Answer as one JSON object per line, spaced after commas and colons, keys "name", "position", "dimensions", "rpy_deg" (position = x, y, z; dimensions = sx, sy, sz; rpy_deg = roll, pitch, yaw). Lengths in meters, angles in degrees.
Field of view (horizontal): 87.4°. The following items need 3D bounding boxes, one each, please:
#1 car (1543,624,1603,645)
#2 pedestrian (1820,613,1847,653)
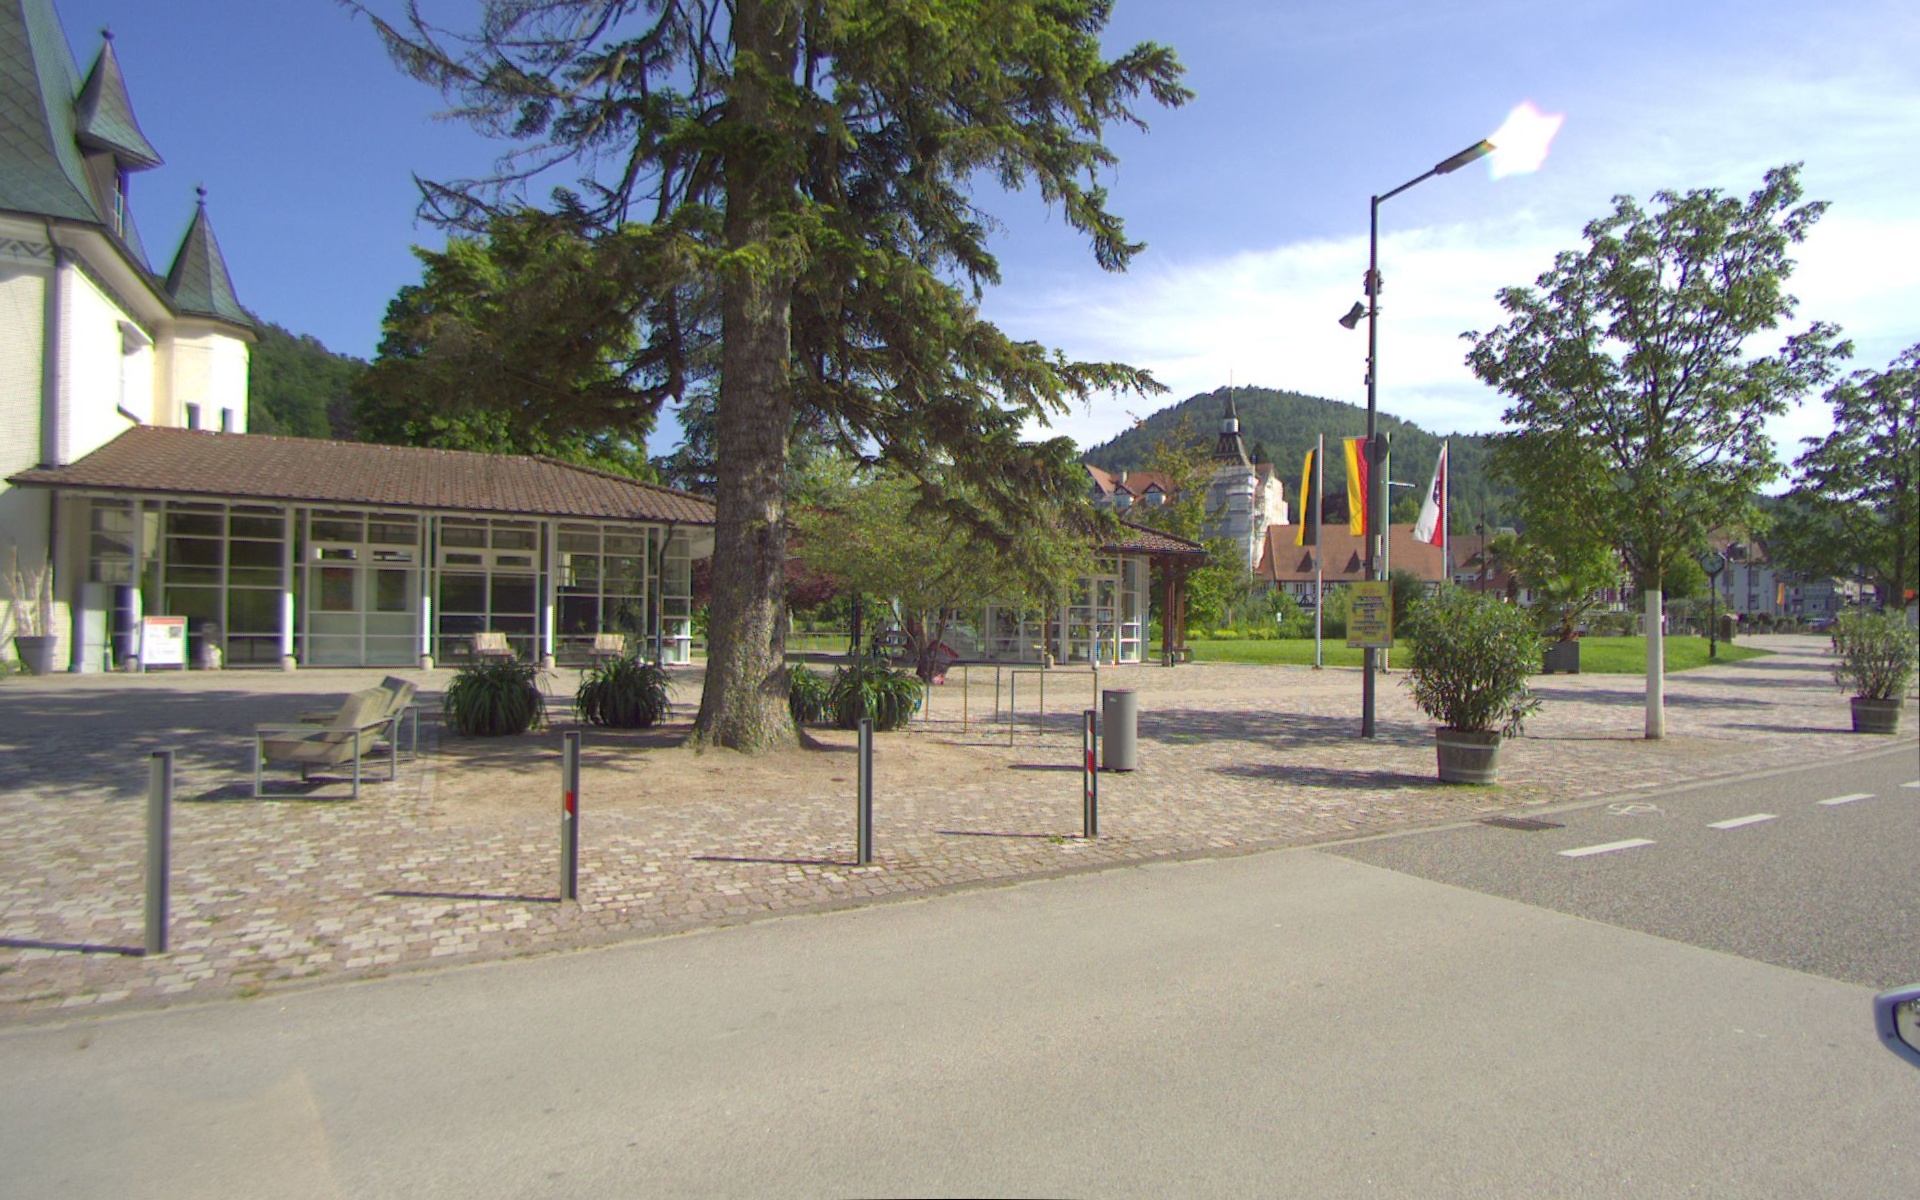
{"name": "car", "position": [51.880, 2.919, 85.076], "dimensions": [4.104, 1.638, 1.689], "rpy_deg": [1, -1, 25]}
{"name": "pedestrian", "position": [40.486, 1.524, 46.543], "dimensions": [0.855, 1.839, 0.689], "rpy_deg": [1, 0, 35]}
